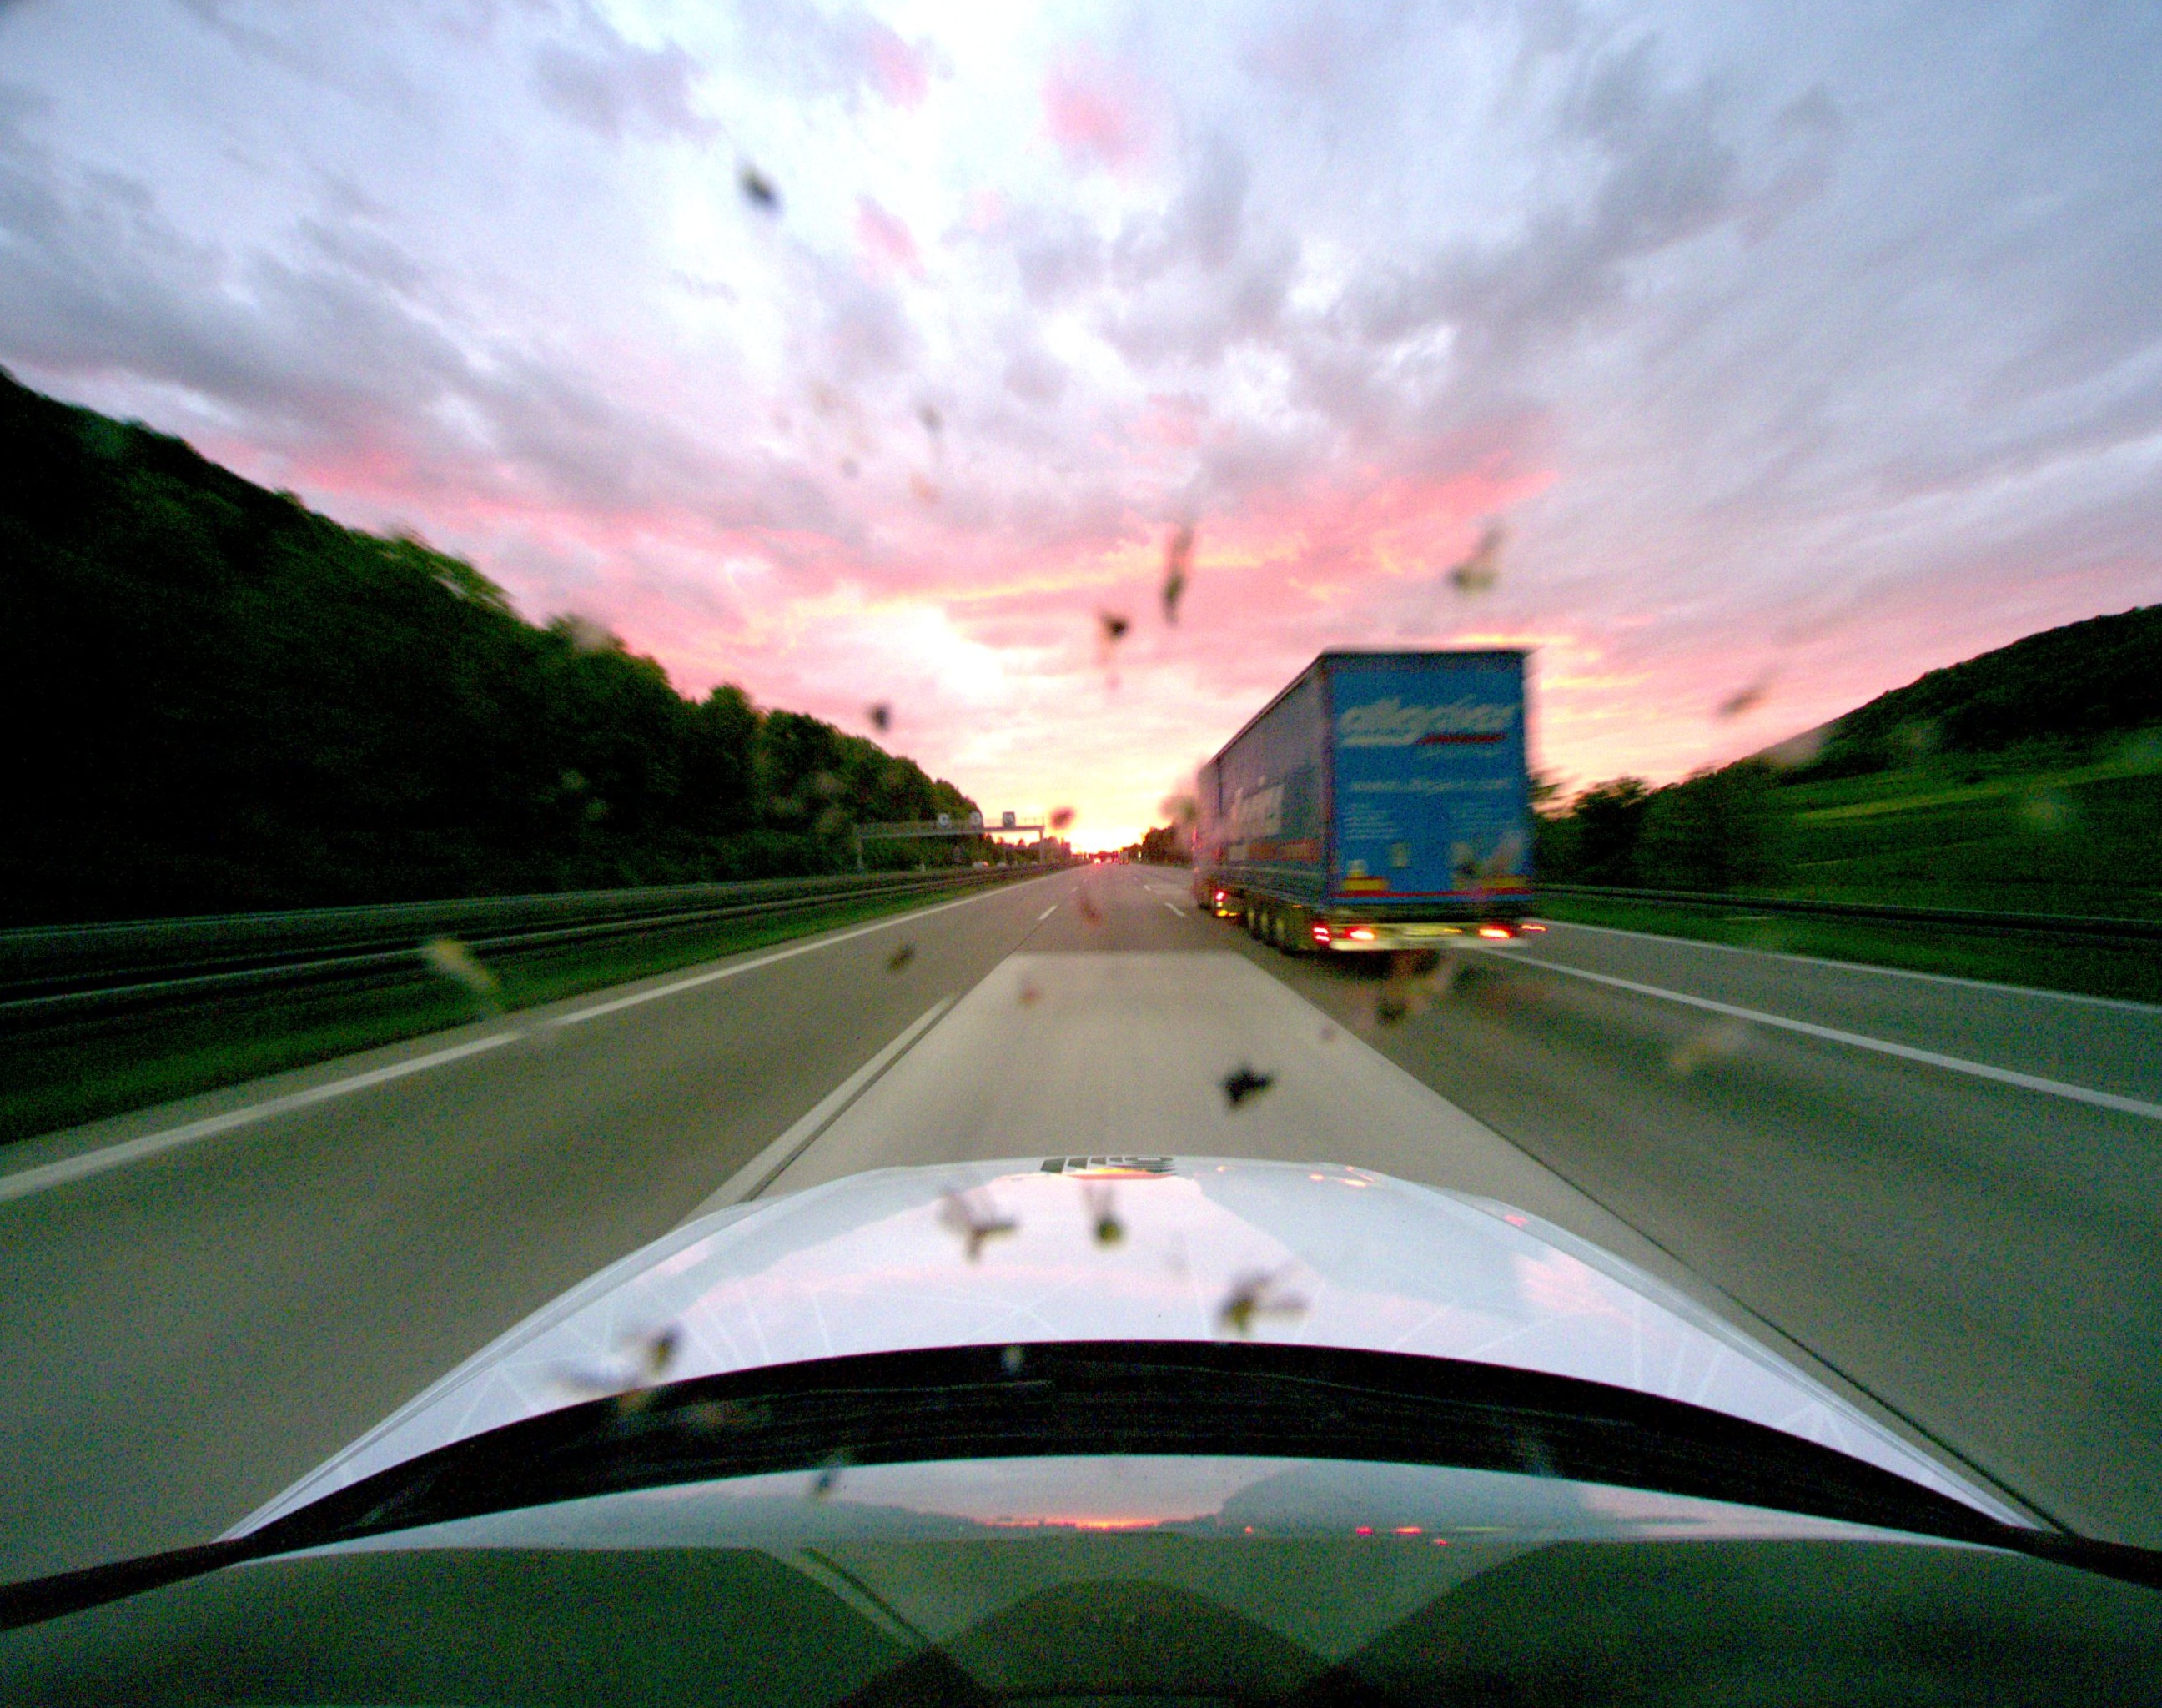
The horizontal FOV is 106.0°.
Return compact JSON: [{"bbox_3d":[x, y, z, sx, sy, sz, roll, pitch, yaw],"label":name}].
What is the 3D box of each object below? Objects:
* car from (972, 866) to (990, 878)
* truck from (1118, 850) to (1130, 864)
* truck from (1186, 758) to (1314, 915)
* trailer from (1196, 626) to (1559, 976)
[{"bbox_3d":[-15.740,2.778,128.079,1.841,1.734,5.664,-1,-1,3],"label":"car"},{"bbox_3d":[12.955,1.022,244.674,3.233,4.127,9.787,-2,-1,1],"label":"truck"},{"bbox_3d":[4.717,-0.414,23.837,2.725,3.996,5.853,-1,-1,3],"label":"truck"},{"bbox_3d":[4.445,-0.561,16.459,2.761,4.086,13.745,-1,-1,2],"label":"trailer"}]
